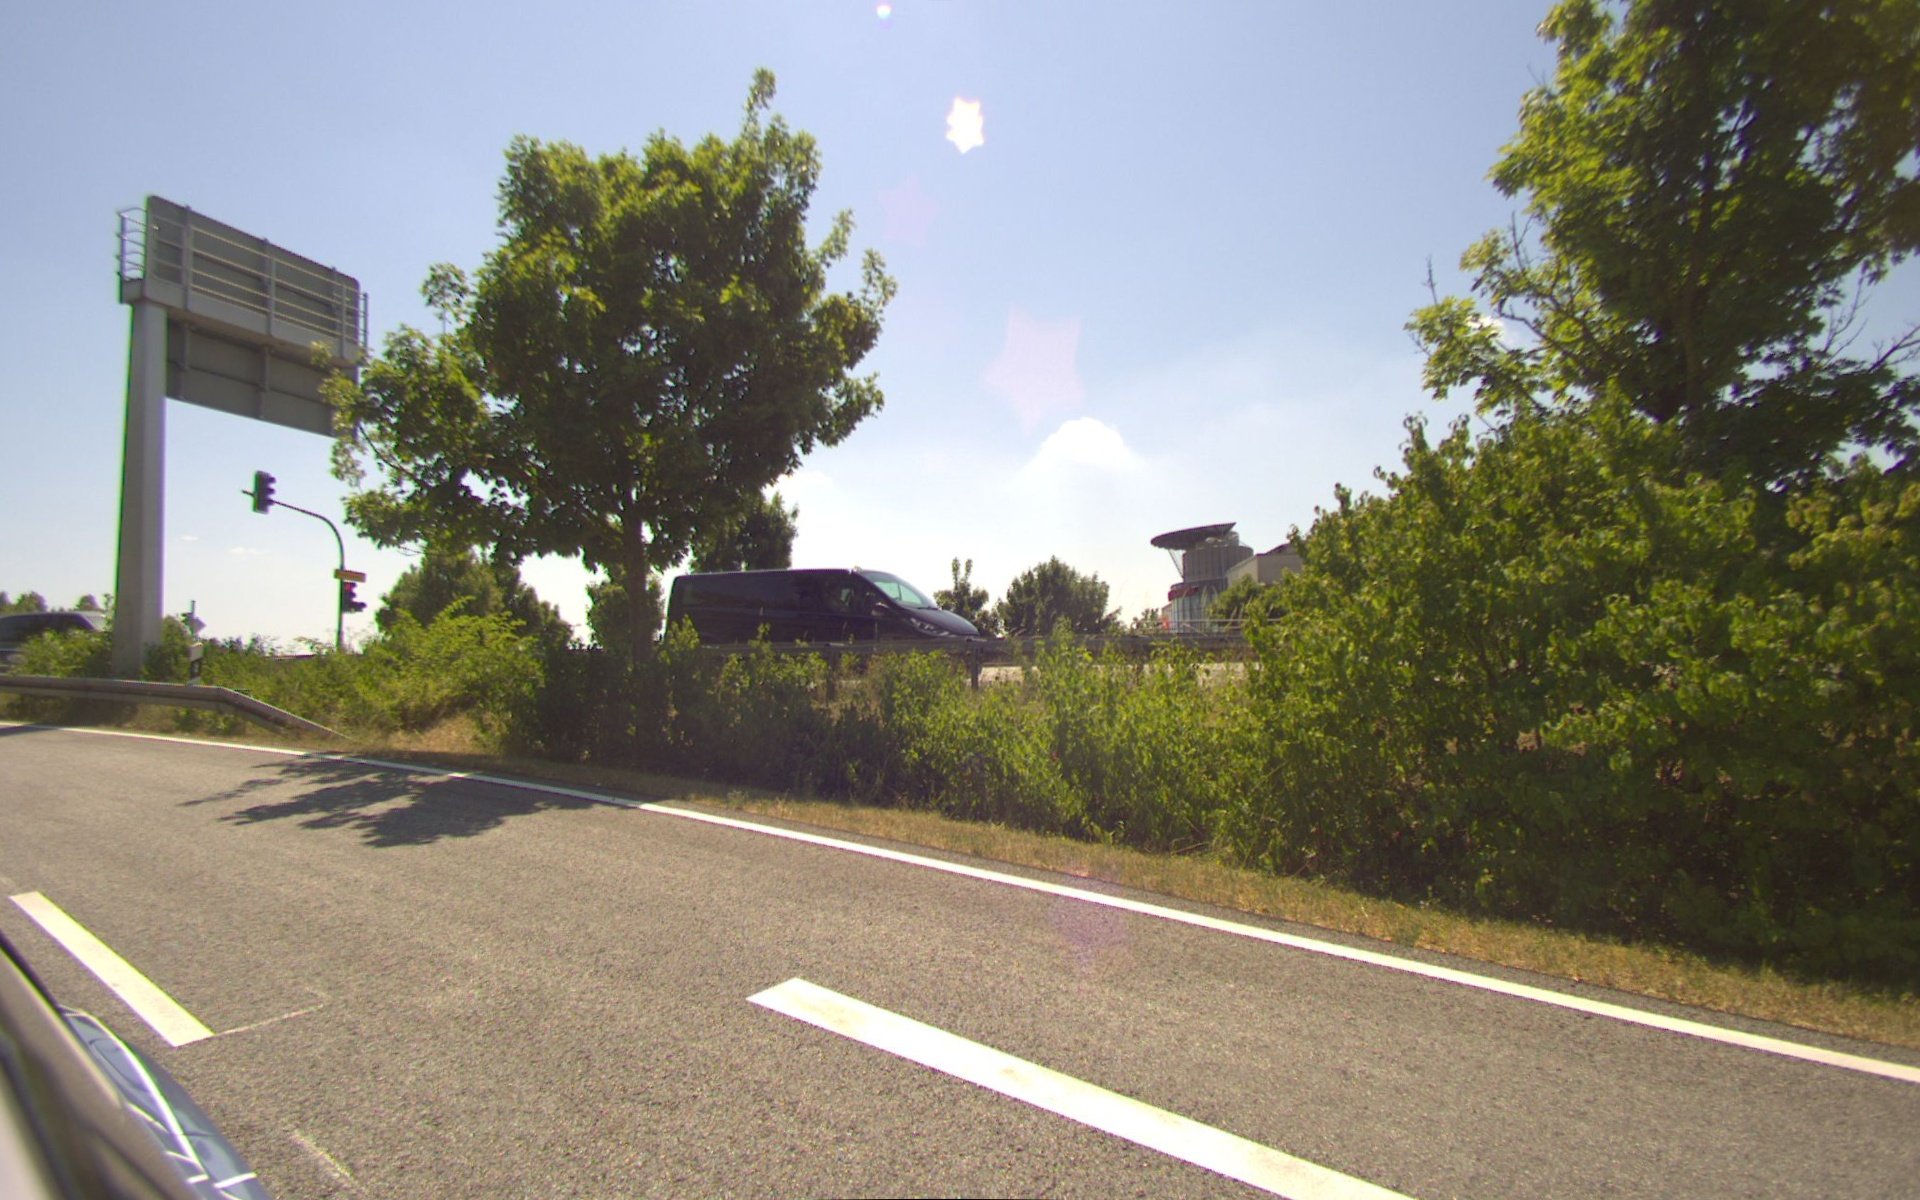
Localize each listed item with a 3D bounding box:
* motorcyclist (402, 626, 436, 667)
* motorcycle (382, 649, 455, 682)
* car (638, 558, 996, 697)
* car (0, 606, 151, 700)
[{"bbox_3d":[-18.018,1.564,33.720,0.715,1.313,0.674,-1,-6,10],"label":"motorcyclist"},{"bbox_3d":[-18.010,2.186,33.667,2.259,1.089,0.562,-1,-5,10],"label":"motorcycle"},{"bbox_3d":[-2.309,0.411,16.237,5.377,1.952,2.109,-1,0,24],"label":"car"},{"bbox_3d":[-20.520,1.223,22.490,4.501,1.934,1.930,-2,-5,22],"label":"car"}]
